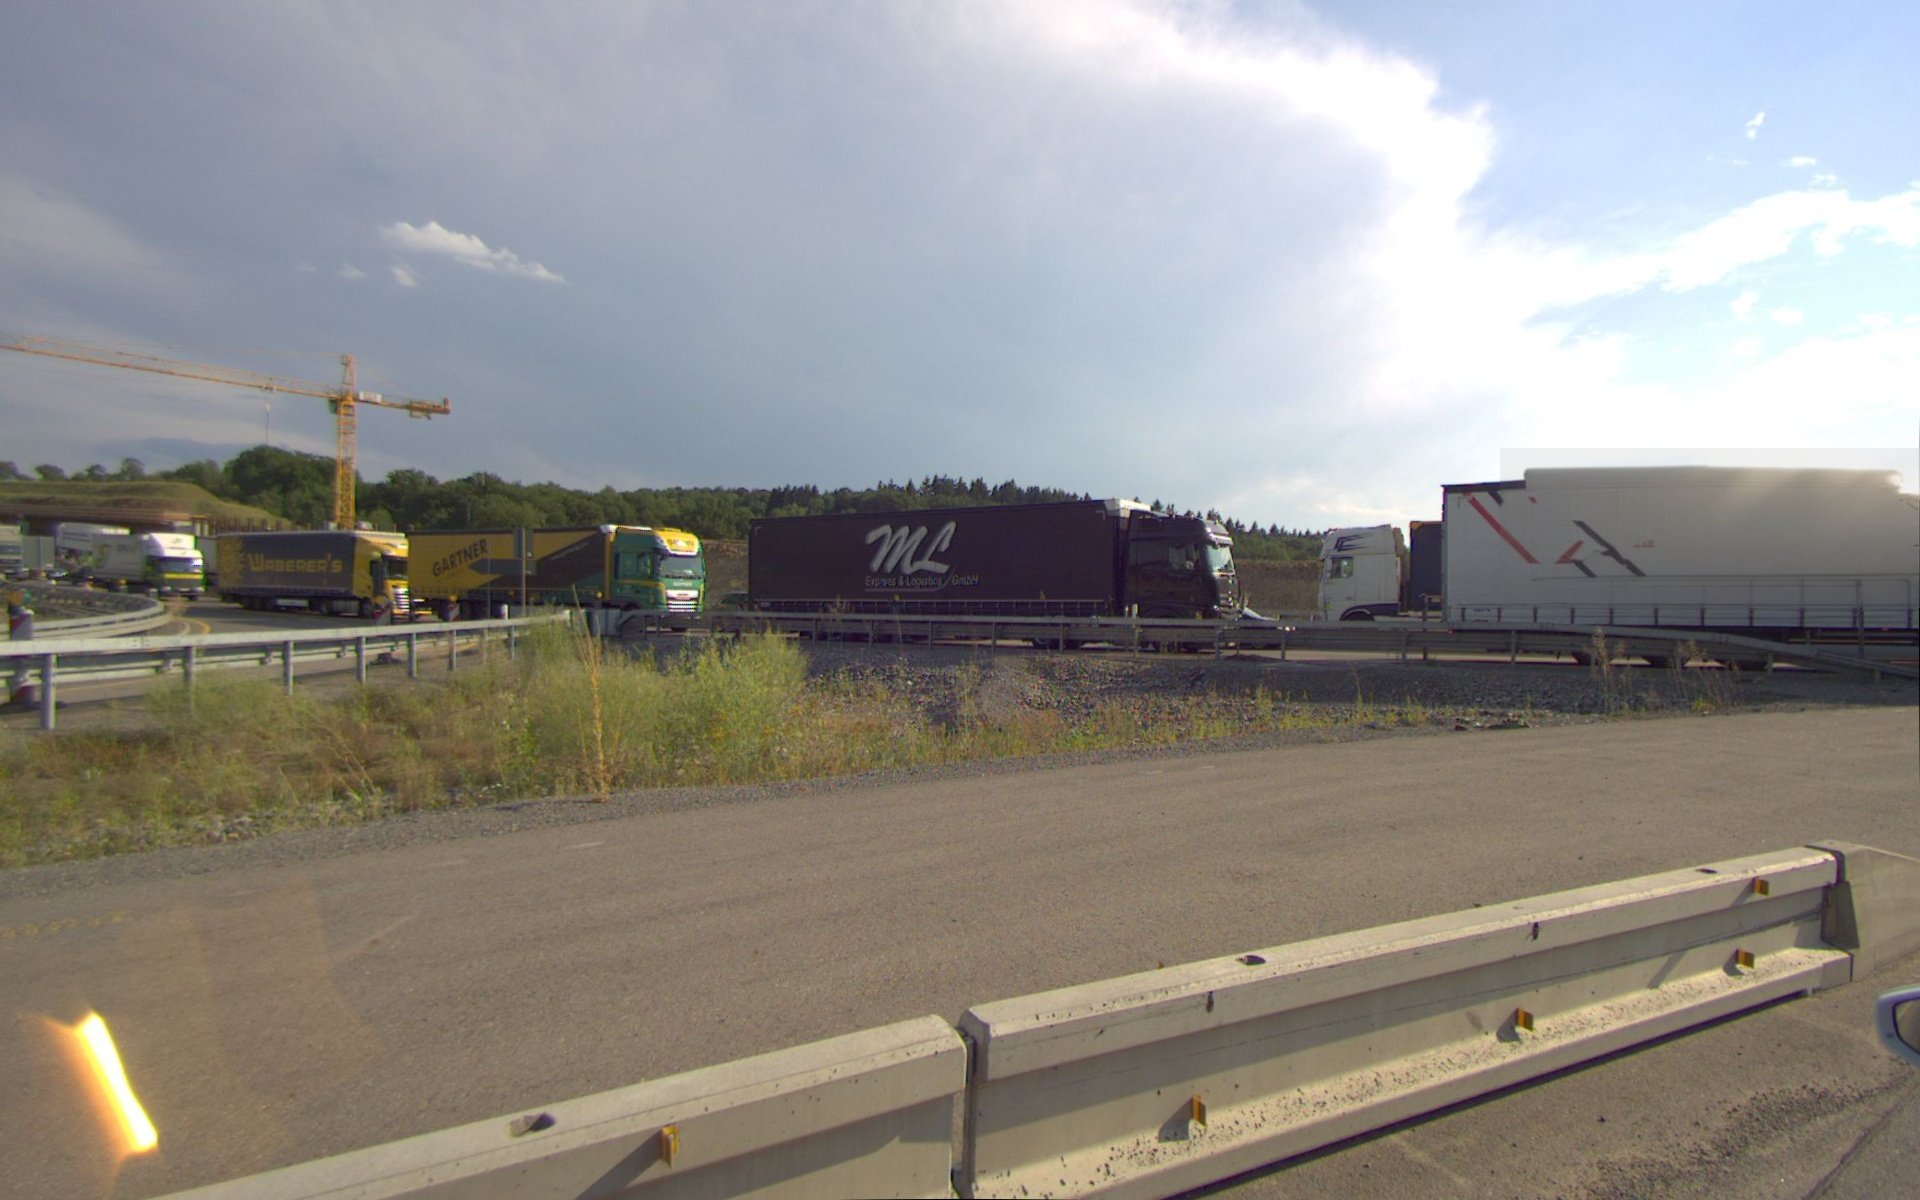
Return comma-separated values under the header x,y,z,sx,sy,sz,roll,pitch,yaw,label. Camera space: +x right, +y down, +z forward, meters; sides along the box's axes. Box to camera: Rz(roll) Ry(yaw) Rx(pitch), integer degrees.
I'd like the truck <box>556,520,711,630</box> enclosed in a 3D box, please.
x,y,z,sx,sy,sz,roll,pitch,yaw,label
-12.716,-0.915,38.976,5.907,3.953,2.482,1,0,32,truck

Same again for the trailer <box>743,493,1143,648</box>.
x,y,z,sx,sy,sz,roll,pitch,yaw,label
-1.052,-0.828,31.453,13.397,4.116,2.482,1,0,33,trailer

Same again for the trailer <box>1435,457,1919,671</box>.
x,y,z,sx,sy,sz,roll,pitch,yaw,label
17.132,-0.663,20.324,13.392,3.930,2.483,1,0,31,trailer

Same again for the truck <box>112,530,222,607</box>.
x,y,z,sx,sy,sz,roll,pitch,yaw,label
-48.528,-1.852,61.449,6.778,4.371,3.106,1,-2,33,truck

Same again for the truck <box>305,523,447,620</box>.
x,y,z,sx,sy,sz,roll,pitch,yaw,label
-28.419,-1.293,48.825,6.778,4.371,3.106,1,-2,33,truck

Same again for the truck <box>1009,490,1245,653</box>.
x,y,z,sx,sy,sz,roll,pitch,yaw,label
4.569,-0.727,27.836,5.907,4.114,2.483,1,0,32,truck

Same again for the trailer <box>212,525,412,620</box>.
x,y,z,sx,sy,sz,roll,pitch,yaw,label
-34.029,-1.318,52.370,14.006,4.371,3.106,1,-2,33,trailer

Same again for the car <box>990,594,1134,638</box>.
x,y,z,sx,sy,sz,roll,pitch,yaw,label
3.709,0.556,36.918,4.893,1.520,2.030,0,1,33,car

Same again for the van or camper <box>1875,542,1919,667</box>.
x,y,z,sx,sy,sz,roll,pitch,yaw,label
23.175,0.125,20.891,5.801,2.655,1.995,1,0,32,van or camper

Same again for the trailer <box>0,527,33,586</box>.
x,y,z,sx,sy,sz,roll,pitch,yaw,label
-78.826,-3.389,80.464,14.006,4.371,3.106,1,-2,33,trailer

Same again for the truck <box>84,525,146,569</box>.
x,y,z,sx,sy,sz,roll,pitch,yaw,label
-98.559,-6.068,117.031,12.982,4.470,3.555,0,-2,42,truck

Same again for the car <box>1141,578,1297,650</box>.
x,y,z,sx,sy,sz,roll,pitch,yaw,label
7.730,0.401,30.067,4.255,2.040,1.523,1,-2,31,car

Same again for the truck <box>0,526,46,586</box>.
x,y,z,sx,sy,sz,roll,pitch,yaw,label
-73.402,-3.304,77.047,6.778,4.371,3.106,1,-2,33,truck

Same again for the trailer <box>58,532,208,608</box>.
x,y,z,sx,sy,sz,roll,pitch,yaw,label
-53.256,-1.824,64.458,14.006,4.371,3.106,1,-2,33,trailer

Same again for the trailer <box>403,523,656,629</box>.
x,y,z,sx,sy,sz,roll,pitch,yaw,label
-18.619,-0.960,42.699,13.733,4.011,2.482,1,0,32,trailer
